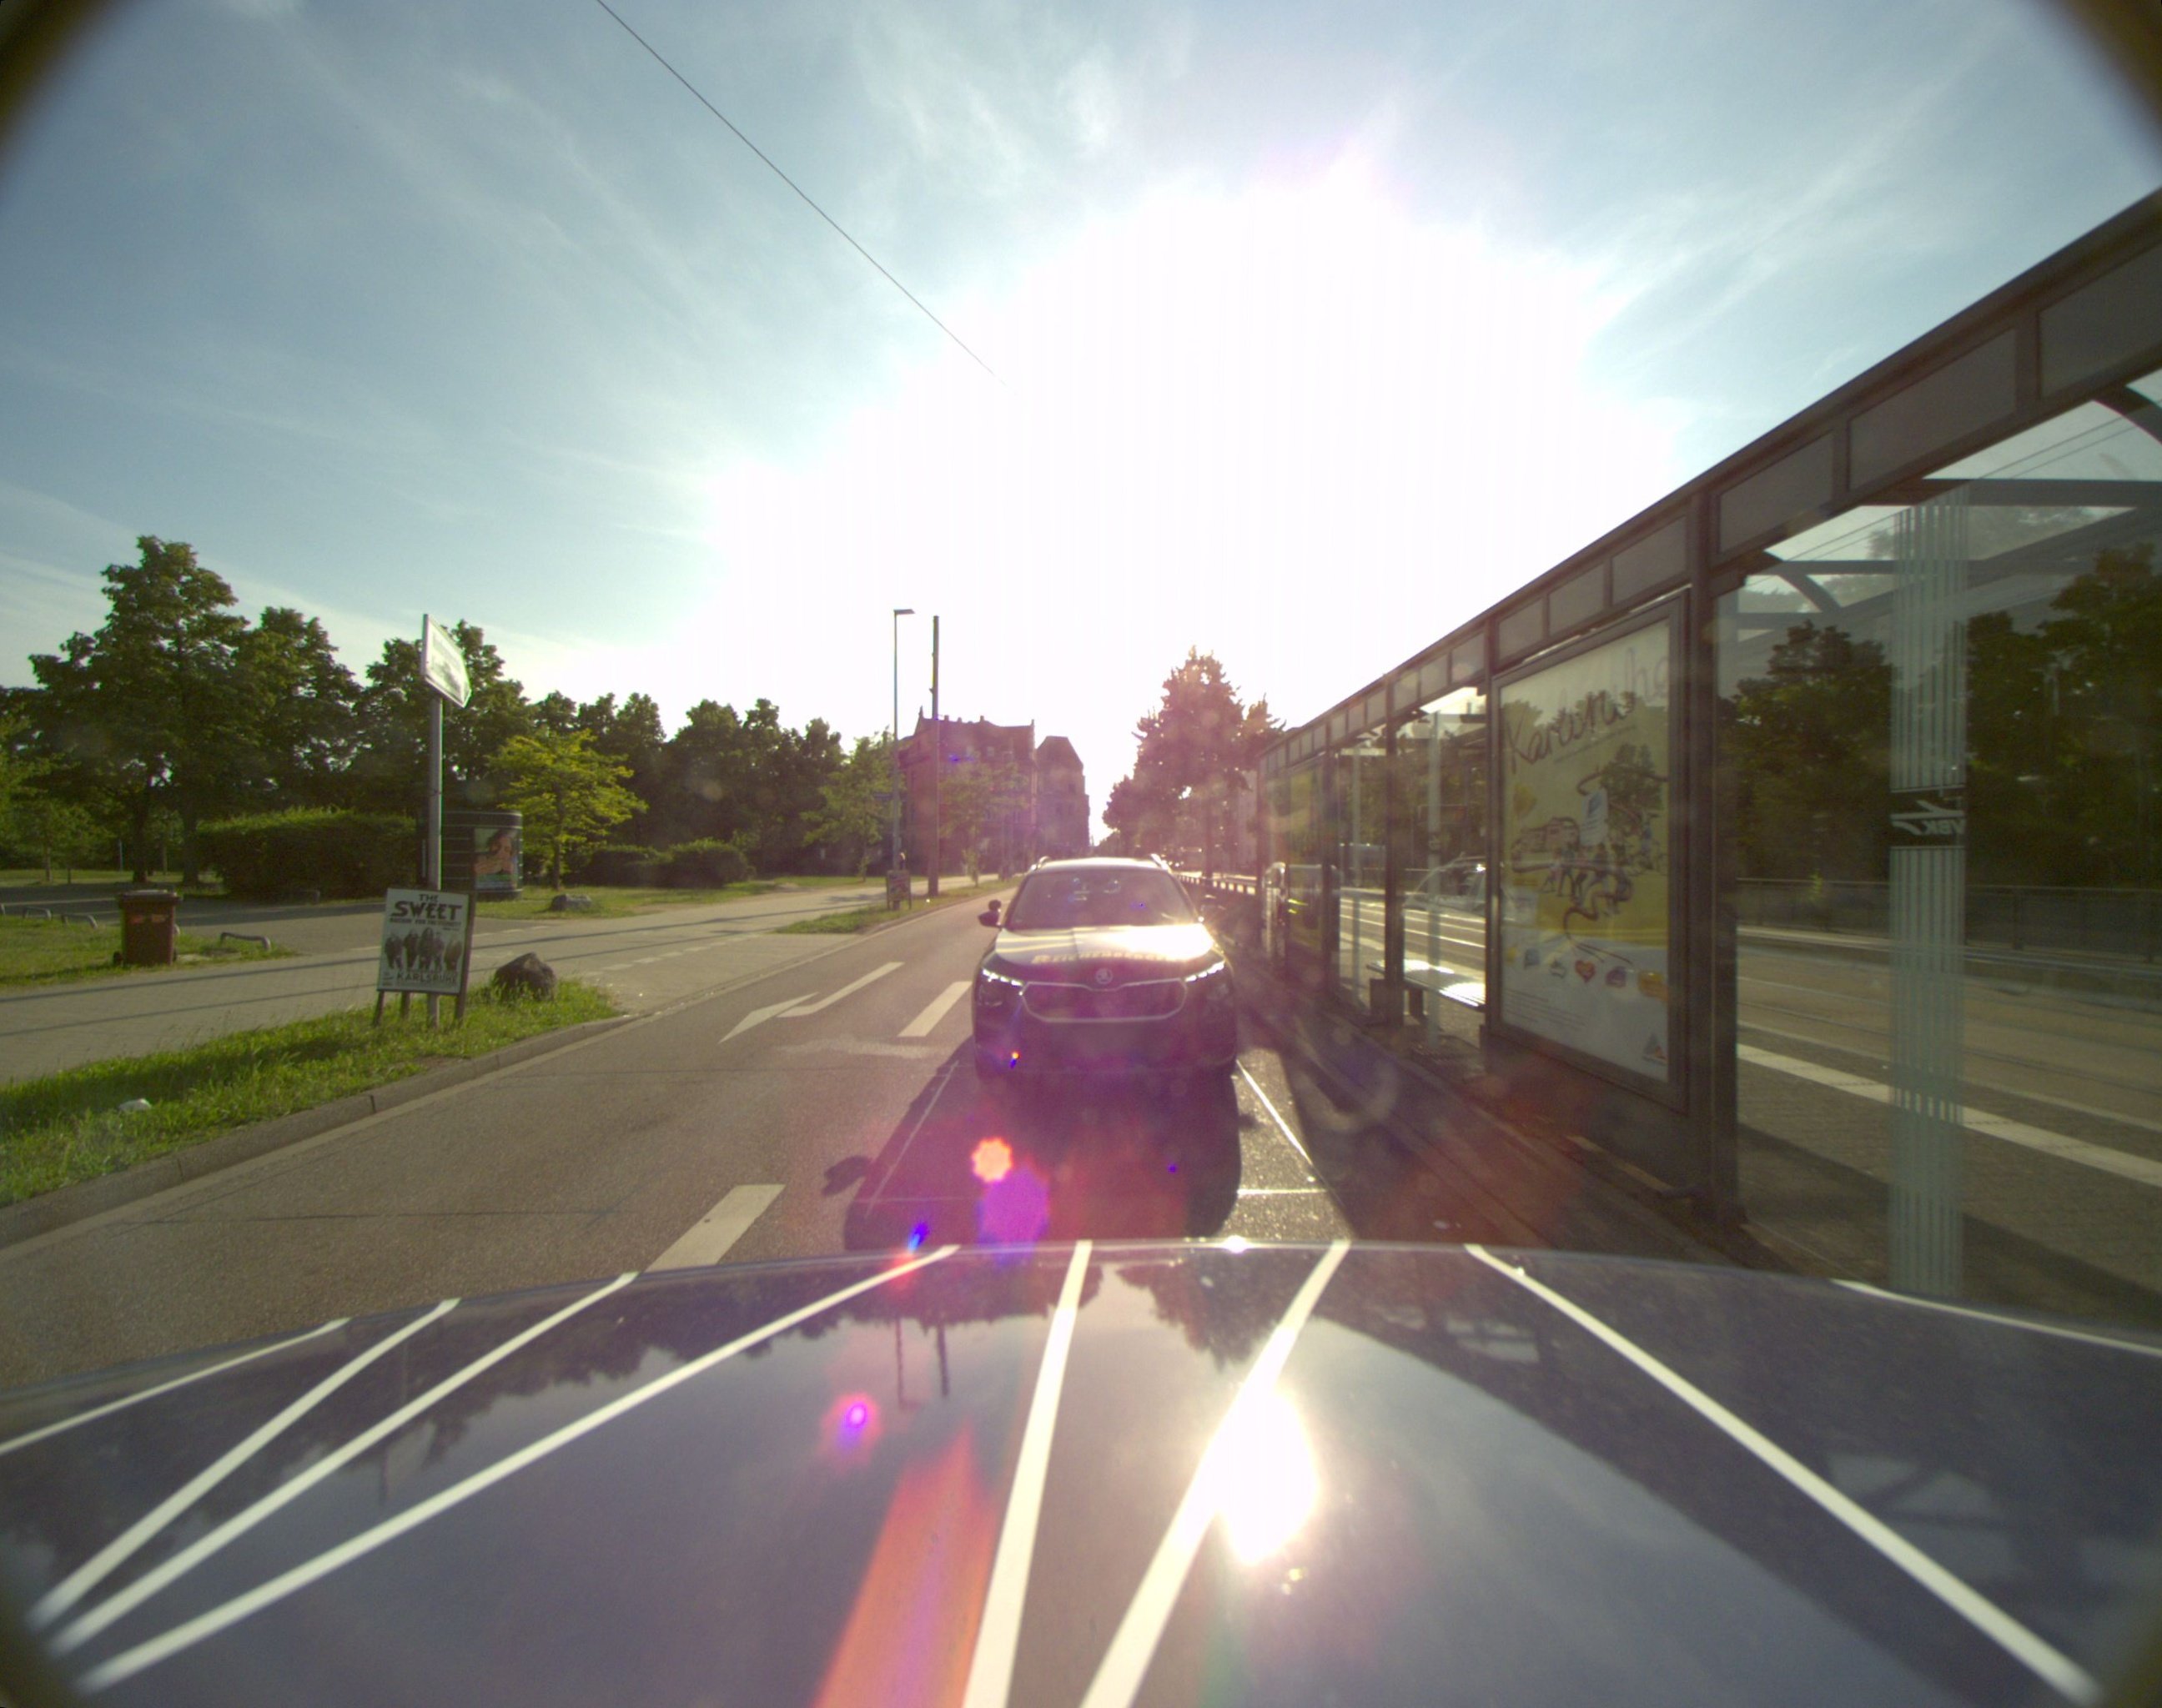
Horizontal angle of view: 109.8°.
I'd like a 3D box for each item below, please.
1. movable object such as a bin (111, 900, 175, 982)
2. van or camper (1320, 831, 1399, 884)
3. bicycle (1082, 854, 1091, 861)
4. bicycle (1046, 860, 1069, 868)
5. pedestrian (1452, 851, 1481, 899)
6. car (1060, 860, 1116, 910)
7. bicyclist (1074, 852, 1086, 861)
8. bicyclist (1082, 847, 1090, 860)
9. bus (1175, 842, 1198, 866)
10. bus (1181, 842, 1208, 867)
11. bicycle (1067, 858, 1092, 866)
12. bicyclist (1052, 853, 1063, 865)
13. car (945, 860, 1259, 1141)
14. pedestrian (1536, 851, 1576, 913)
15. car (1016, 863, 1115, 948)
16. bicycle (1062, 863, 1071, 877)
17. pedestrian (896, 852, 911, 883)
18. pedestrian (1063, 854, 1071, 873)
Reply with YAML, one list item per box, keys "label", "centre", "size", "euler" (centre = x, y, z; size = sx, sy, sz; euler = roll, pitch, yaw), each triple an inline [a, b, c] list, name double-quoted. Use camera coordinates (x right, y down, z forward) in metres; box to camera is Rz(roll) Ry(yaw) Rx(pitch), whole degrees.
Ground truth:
- label: "movable object such as a bin"
  centre: [-11.419, 1.040, 9.262]
  size: [0.603, 0.912, 0.457]
  euler: [1, 1, 42]
- label: "van or camper"
  centre: [16.992, 0.147, 46.830]
  size: [2.527, 2.951, 6.411]
  euler: [-2, 1, 1]
- label: "bicycle"
  centre: [0.581, 0.433, 85.266]
  size: [0.566, 0.789, 2.043]
  euler: [0, 0, 12]
- label: "bicycle"
  centre: [-2.955, 1.247, 95.737]
  size: [2.962, 0.974, 0.879]
  euler: [0, 0, -2]
- label: "pedestrian"
  centre: [13.667, 0.734, 26.946]
  size: [0.621, 1.675, 0.618]
  euler: [3, 1, 1]
- label: "car"
  centre: [0.243, 1.017, 26.423]
  size: [1.756, 1.534, 4.235]
  euler: [-1, 0, 1]
- label: "bicyclist"
  centre: [-0.164, 0.286, 92.409]
  size: [1.402, 1.000, 0.888]
  euler: [0, 0, -1]
- label: "bicyclist"
  centre: [0.558, -0.106, 85.304]
  size: [0.688, 1.445, 1.112]
  euler: [0, 0, 12]
- label: "bus"
  centre: [16.215, -0.074, 117.273]
  size: [2.437, 3.415, 9.261]
  euler: [-2, 1, 1]
- label: "bus"
  centre: [16.077, 0.034, 108.009]
  size: [2.437, 3.415, 9.261]
  euler: [-2, 1, 1]
- label: "bicycle"
  centre: [-0.188, 1.005, 92.449]
  size: [2.962, 0.974, 0.879]
  euler: [0, 0, -2]
- label: "bicyclist"
  centre: [-2.929, 0.616, 95.741]
  size: [1.402, 1.538, 0.888]
  euler: [0, 0, -1]
- label: "car"
  centre: [0.152, 0.857, 6.449]
  size: [1.756, 1.534, 4.235]
  euler: [-1, 0, 1]
- label: "pedestrian"
  centre: [13.200, 0.776, 21.120]
  size: [0.621, 1.675, 0.618]
  euler: [3, 1, 1]
- label: "car"
  centre: [-0.243, 0.961, 15.877]
  size: [1.756, 1.451, 4.235]
  euler: [-1, 0, 1]
- label: "bicycle"
  centre: [-1.196, 1.338, 63.729]
  size: [0.652, 1.040, 1.980]
  euler: [-2, 1, -3]
- label: "pedestrian"
  centre: [-9.617, 0.734, 41.250]
  size: [0.621, 1.675, 0.618]
  euler: [-2, 1, 1]
- label: "pedestrian"
  centre: [-1.190, 0.775, 63.712]
  size: [0.637, 1.512, 0.844]
  euler: [-2, 1, -3]
